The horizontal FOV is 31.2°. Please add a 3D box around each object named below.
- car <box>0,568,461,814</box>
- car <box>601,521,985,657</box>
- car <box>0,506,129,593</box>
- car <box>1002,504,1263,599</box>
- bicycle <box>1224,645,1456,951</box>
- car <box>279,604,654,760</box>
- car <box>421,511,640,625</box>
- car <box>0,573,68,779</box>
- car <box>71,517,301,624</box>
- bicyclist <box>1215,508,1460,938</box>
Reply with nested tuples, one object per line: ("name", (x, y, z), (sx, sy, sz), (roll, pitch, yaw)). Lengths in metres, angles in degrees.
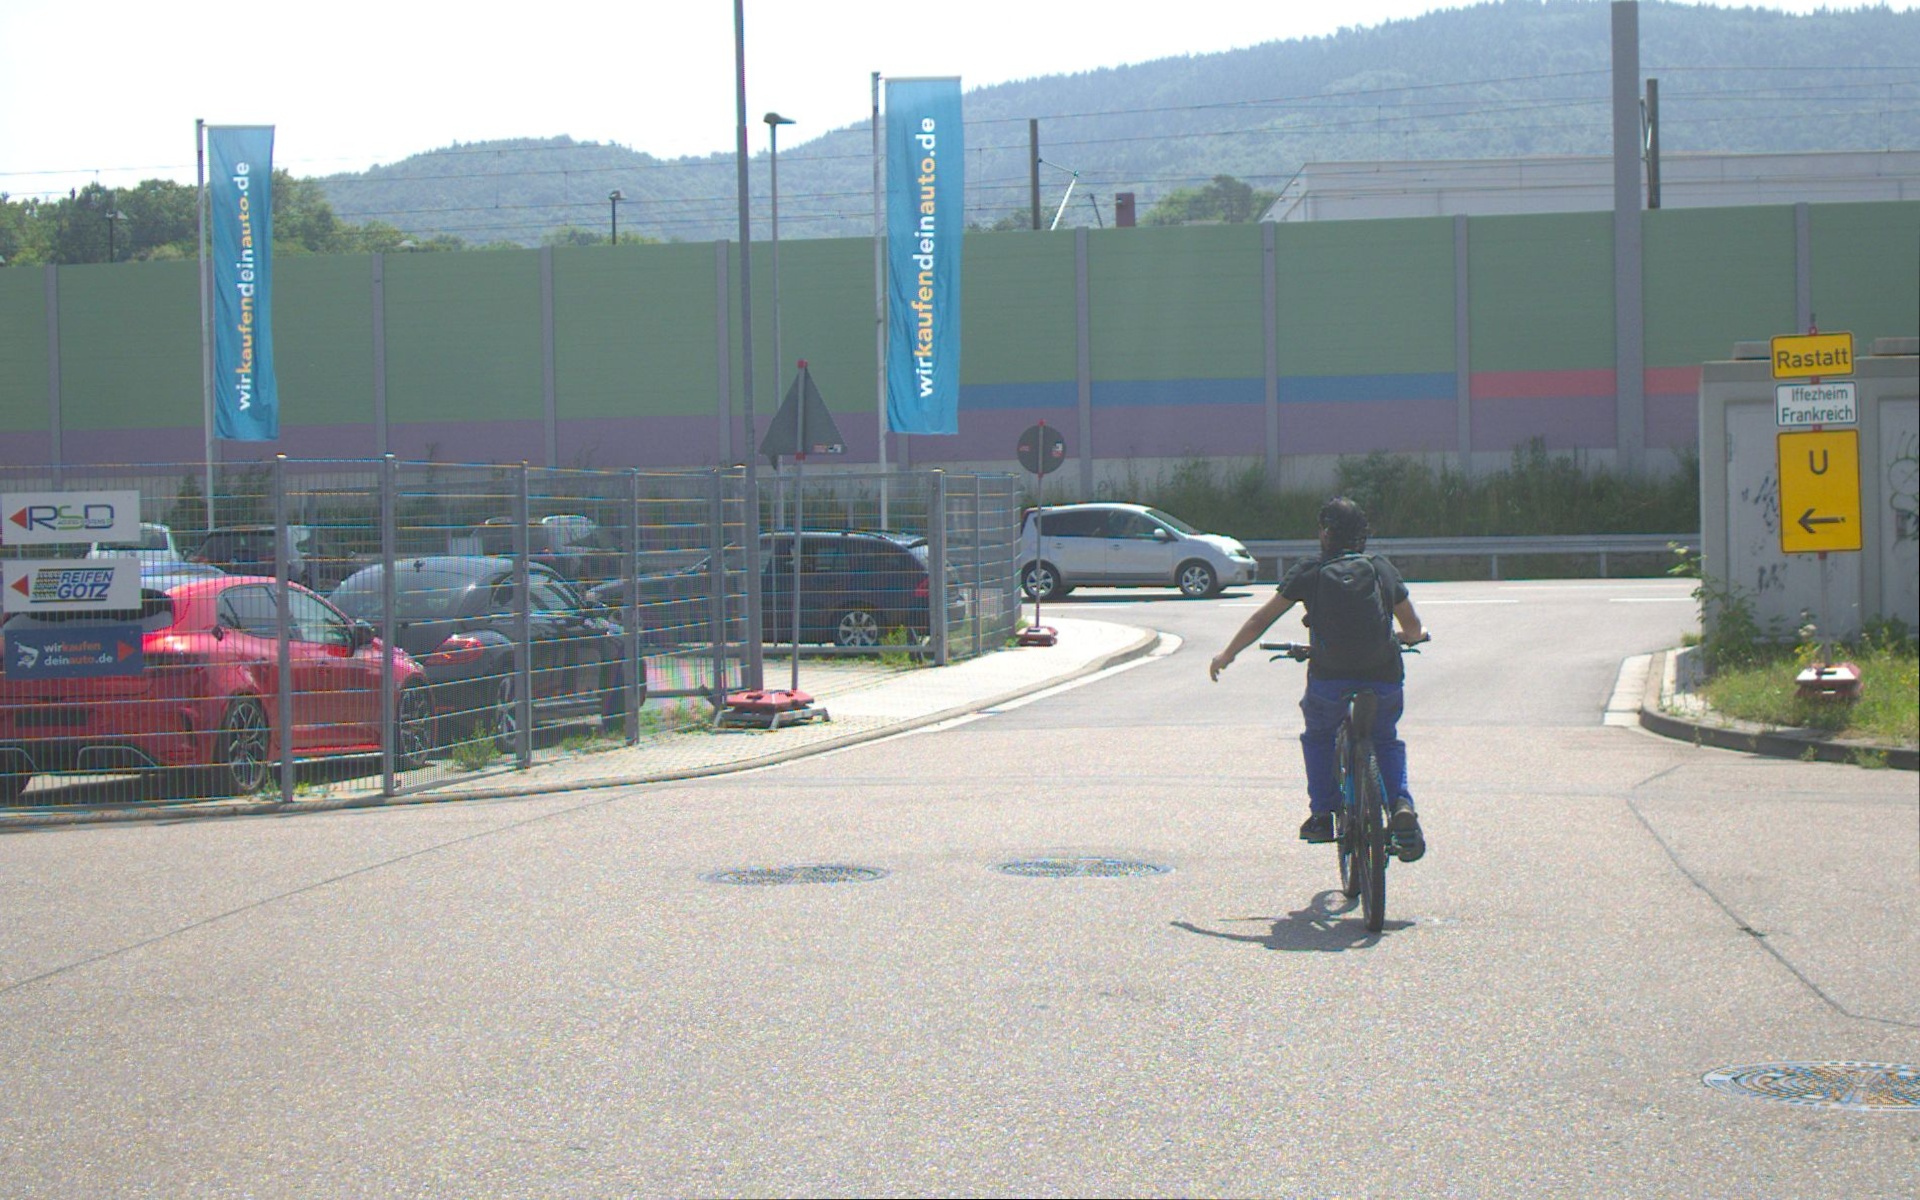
("car", (-4.950, 0.531, 22.645), (1.871, 1.382, 4.111), (-1, 1, 14))
("car", (-1.918, -0.133, 39.955), (3.990, 1.487, 1.998), (-1, 2, 17))
("car", (-18.343, -1.023, 68.572), (1.700, 1.651, 3.998), (-1, 2, 15))
("car", (2.875, -0.810, 56.885), (3.989, 1.487, 1.999), (-1, 2, 14))
("bicycle", (1.459, 0.733, 13.482), (0.685, 1.048, 1.901), (-1, 1, 0))
("car", (-3.782, 0.604, 27.025), (1.484, 1.003, 4.111), (-1, 2, 14))
("car", (-6.313, -0.500, 51.003), (1.994, 1.576, 3.998), (-1, 2, 12))
("car", (-7.670, 0.569, 23.067), (1.747, 1.400, 3.601), (-1, 1, 14))
("car", (-12.066, -0.489, 53.832), (1.994, 1.576, 3.998), (-1, 2, 12))
("bicyclist", (1.457, 0.459, 13.436), (0.842, 1.613, 1.039), (0, 0, 0))
